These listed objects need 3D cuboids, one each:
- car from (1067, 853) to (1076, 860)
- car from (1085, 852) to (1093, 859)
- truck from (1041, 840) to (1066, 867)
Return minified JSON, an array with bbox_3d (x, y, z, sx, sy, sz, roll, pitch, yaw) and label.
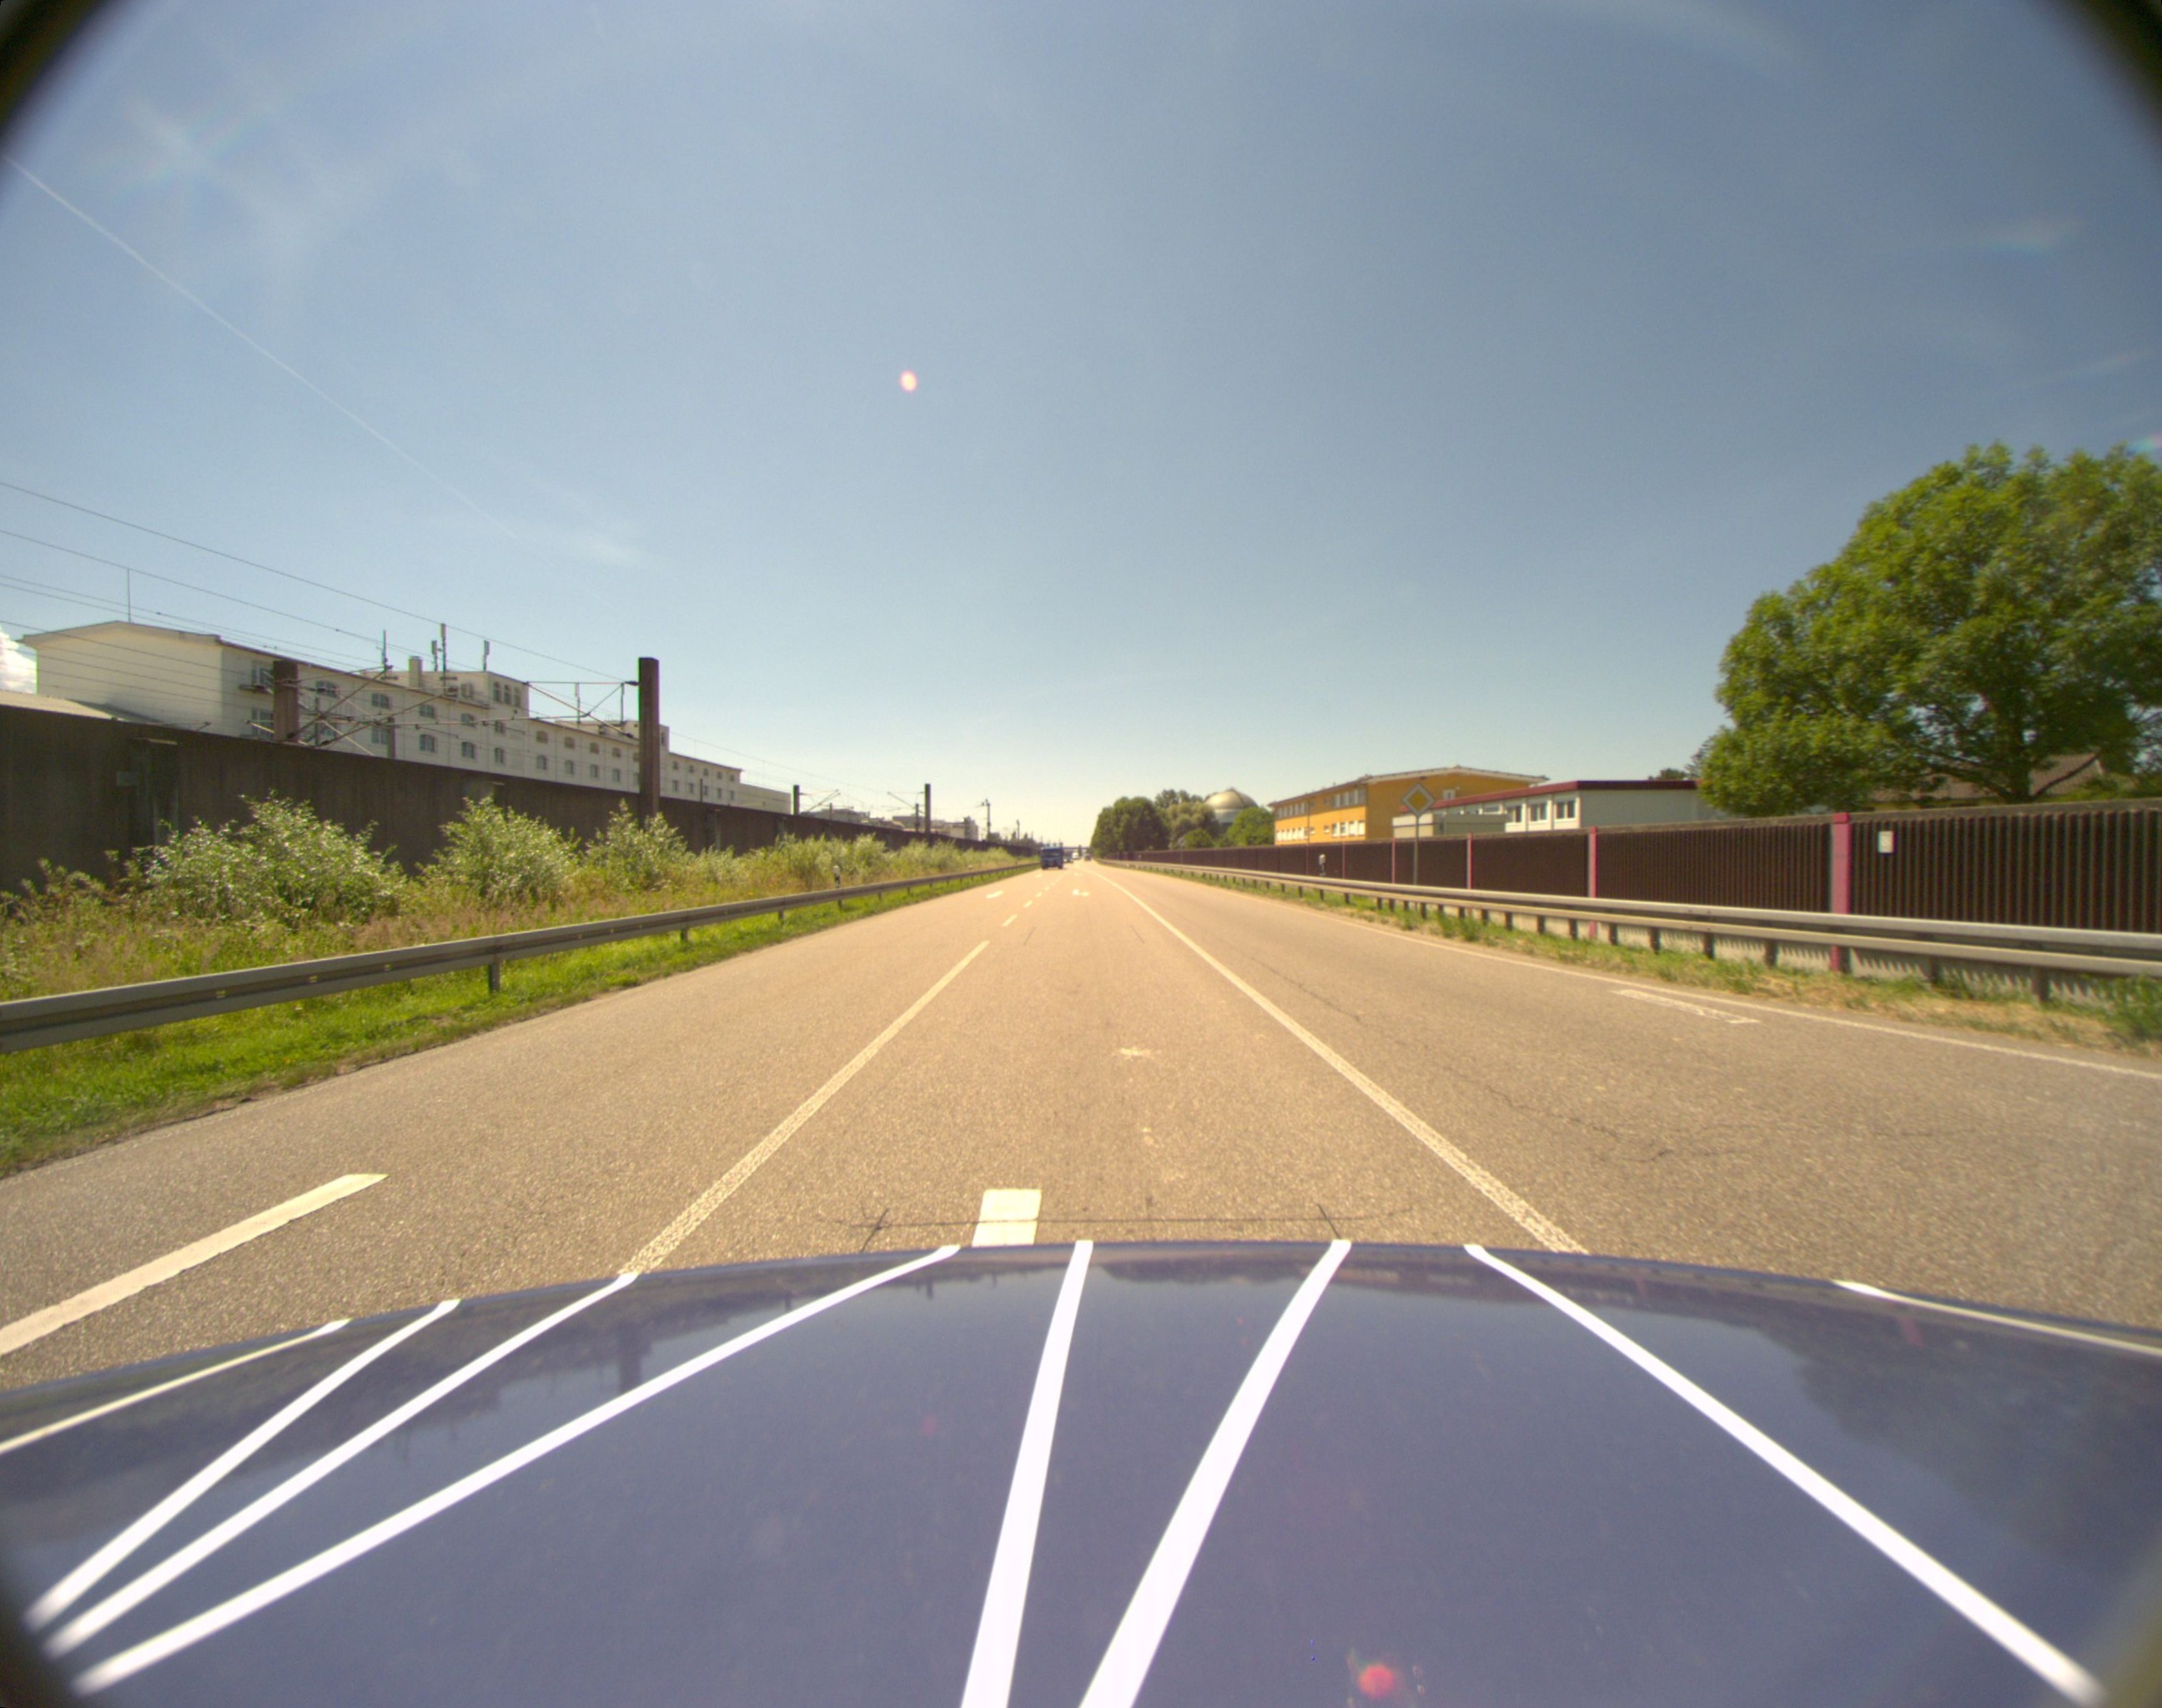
[{"bbox_3d":[-2.004,0.501,154.869,1.730,1.465,3.888,-1,0,-1],"label":"car"},{"bbox_3d":[1.953,0.416,196.007,1.892,1.730,4.775,0,0,-2],"label":"car"},{"bbox_3d":[-3.175,-0.092,89.890,2.617,3.024,10.654,-1,0,0],"label":"truck"}]
